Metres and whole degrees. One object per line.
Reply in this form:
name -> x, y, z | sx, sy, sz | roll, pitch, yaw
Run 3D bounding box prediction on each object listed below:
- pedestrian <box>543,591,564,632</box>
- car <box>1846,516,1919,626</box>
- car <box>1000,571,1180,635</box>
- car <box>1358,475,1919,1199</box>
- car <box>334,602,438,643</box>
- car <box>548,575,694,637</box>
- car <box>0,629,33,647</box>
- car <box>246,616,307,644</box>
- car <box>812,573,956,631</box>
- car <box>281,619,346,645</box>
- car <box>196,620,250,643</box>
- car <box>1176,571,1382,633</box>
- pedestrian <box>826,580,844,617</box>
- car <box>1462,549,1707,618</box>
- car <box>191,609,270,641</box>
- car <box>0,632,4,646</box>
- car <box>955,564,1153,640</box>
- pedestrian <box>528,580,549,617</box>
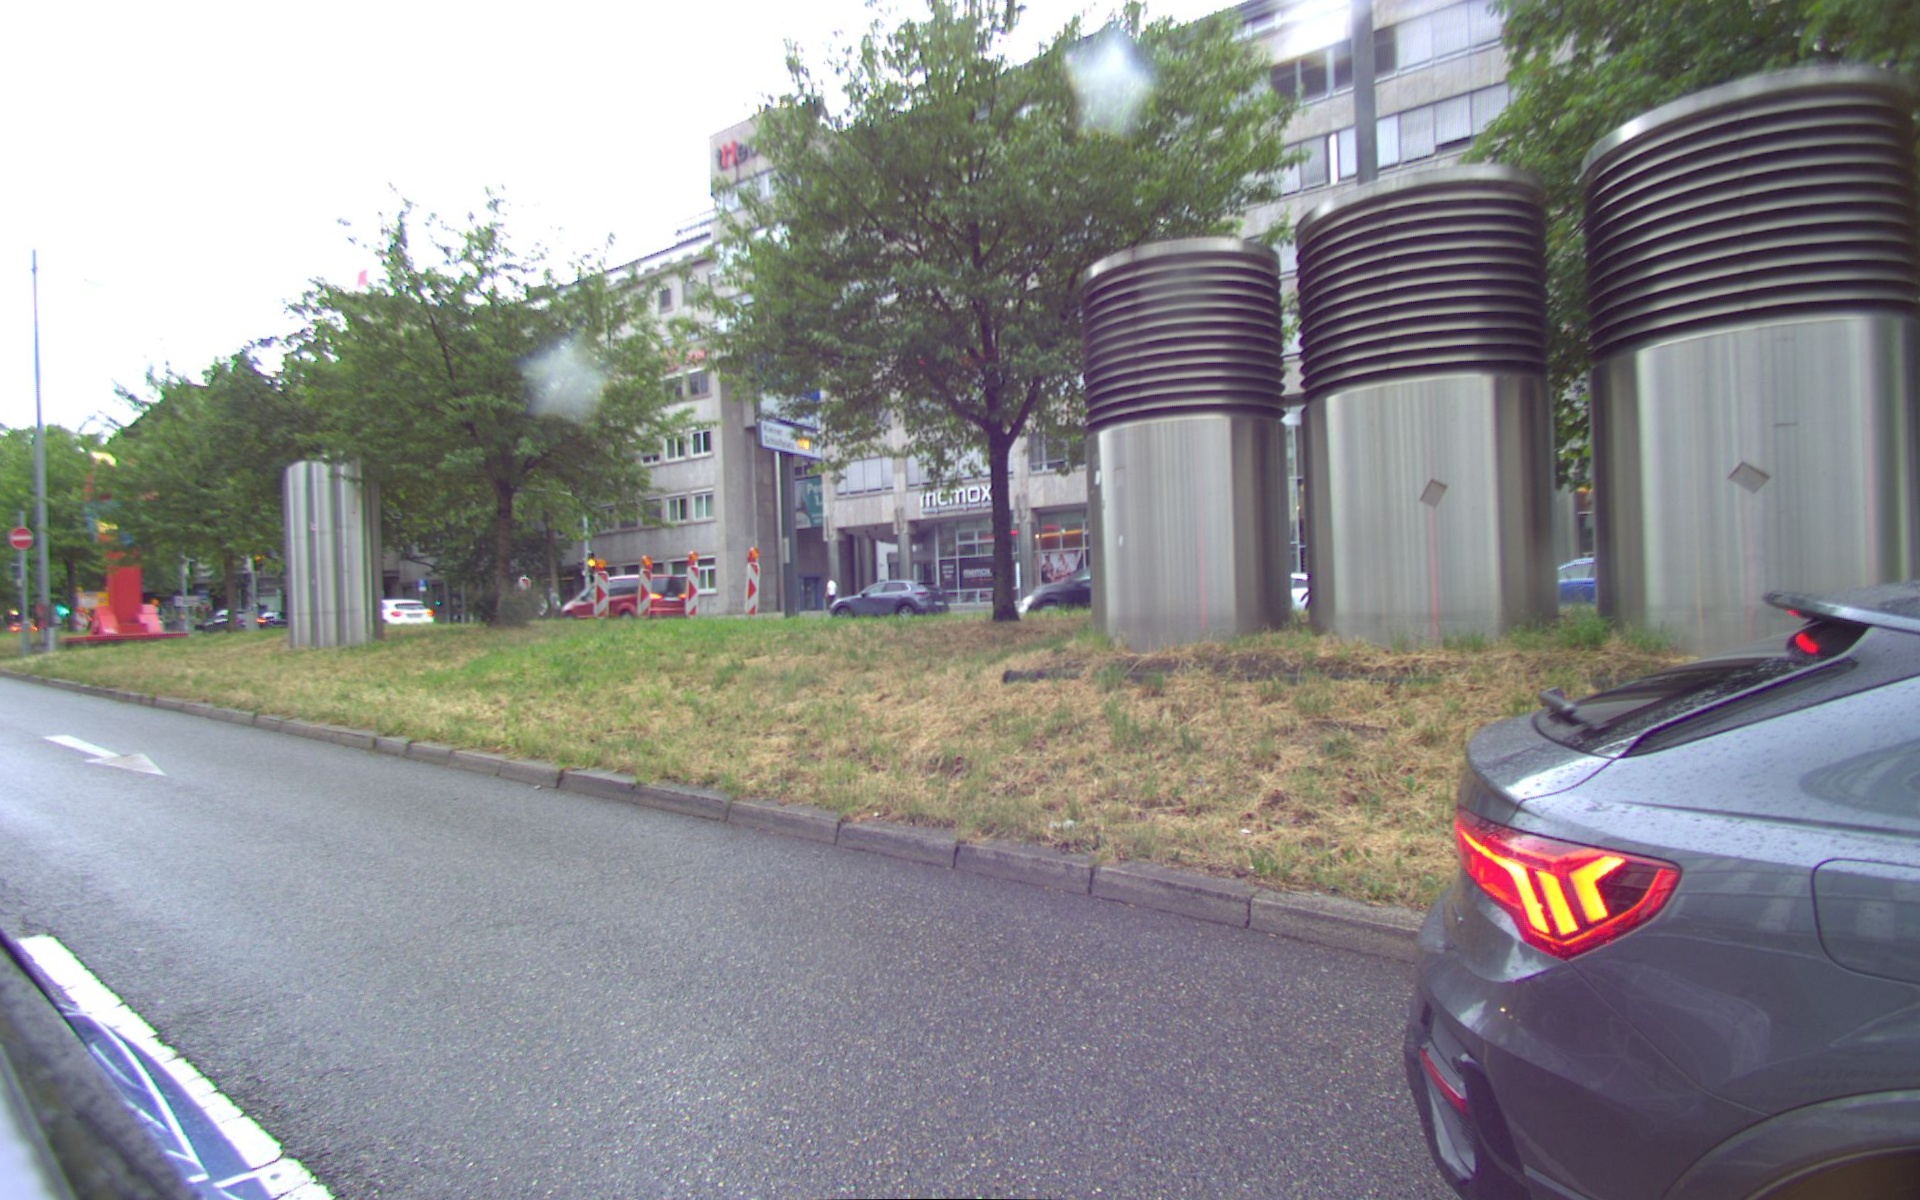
pedestrian -> -18.128, 0.502, 45.107 | 0.721, 1.801, 0.522 | -2, 0, 42
car -> 15.011, -0.471, 13.616 | 4.368, 1.497, 1.791 | -2, 2, 32
car -> 3.653, 0.120, 29.059 | 4.905, 1.634, 1.759 | -2, -1, 38
car -> 2.857, 0.597, 0.941 | 4.247, 1.628, 1.830 | -2, 0, 39
car -> -22.801, 0.907, 40.170 | 4.180, 1.486, 1.805 | -2, 0, 33
car -> -10.334, 0.207, 30.764 | 4.568, 1.740, 1.711 | -2, 0, 33
car -> -80.808, 3.233, 86.452 | 4.127, 1.440, 1.843 | -2, -1, 39
car -> -42.892, 1.903, 63.481 | 4.461, 1.634, 1.844 | -2, -1, 38
car -> -2.583, 0.099, 33.720 | 4.785, 1.739, 1.844 | -2, -1, 38
car -> -38.544, 1.912, 60.321 | 4.559, 1.440, 1.844 | -2, -1, 38
car -> -50.476, 2.169, 69.275 | 4.568, 1.498, 1.769 | -2, -1, 38
car -> 8.056, 0.088, 25.797 | 4.677, 1.412, 1.759 | -2, -1, 38
pedestrian -> -6.105, -0.075, 49.330 | 0.525, 1.801, 0.717 | -2, 0, 19
car -> 13.843, -0.333, 22.622 | 4.465, 1.335, 1.876 | -2, 0, 34
car -> -36.410, 1.257, 50.507 | 3.987, 1.486, 1.853 | -2, 0, 33
car -> -99.905, 4.069, 104.002 | 4.561, 1.440, 1.843 | -2, -1, 40
car -> 2.047, 0.056, 22.428 | 3.990, 1.497, 1.790 | -1, 2, 35
pedestrian -> -18.996, -0.062, 45.637 | 0.619, 1.641, 0.599 | -2, 0, 41
